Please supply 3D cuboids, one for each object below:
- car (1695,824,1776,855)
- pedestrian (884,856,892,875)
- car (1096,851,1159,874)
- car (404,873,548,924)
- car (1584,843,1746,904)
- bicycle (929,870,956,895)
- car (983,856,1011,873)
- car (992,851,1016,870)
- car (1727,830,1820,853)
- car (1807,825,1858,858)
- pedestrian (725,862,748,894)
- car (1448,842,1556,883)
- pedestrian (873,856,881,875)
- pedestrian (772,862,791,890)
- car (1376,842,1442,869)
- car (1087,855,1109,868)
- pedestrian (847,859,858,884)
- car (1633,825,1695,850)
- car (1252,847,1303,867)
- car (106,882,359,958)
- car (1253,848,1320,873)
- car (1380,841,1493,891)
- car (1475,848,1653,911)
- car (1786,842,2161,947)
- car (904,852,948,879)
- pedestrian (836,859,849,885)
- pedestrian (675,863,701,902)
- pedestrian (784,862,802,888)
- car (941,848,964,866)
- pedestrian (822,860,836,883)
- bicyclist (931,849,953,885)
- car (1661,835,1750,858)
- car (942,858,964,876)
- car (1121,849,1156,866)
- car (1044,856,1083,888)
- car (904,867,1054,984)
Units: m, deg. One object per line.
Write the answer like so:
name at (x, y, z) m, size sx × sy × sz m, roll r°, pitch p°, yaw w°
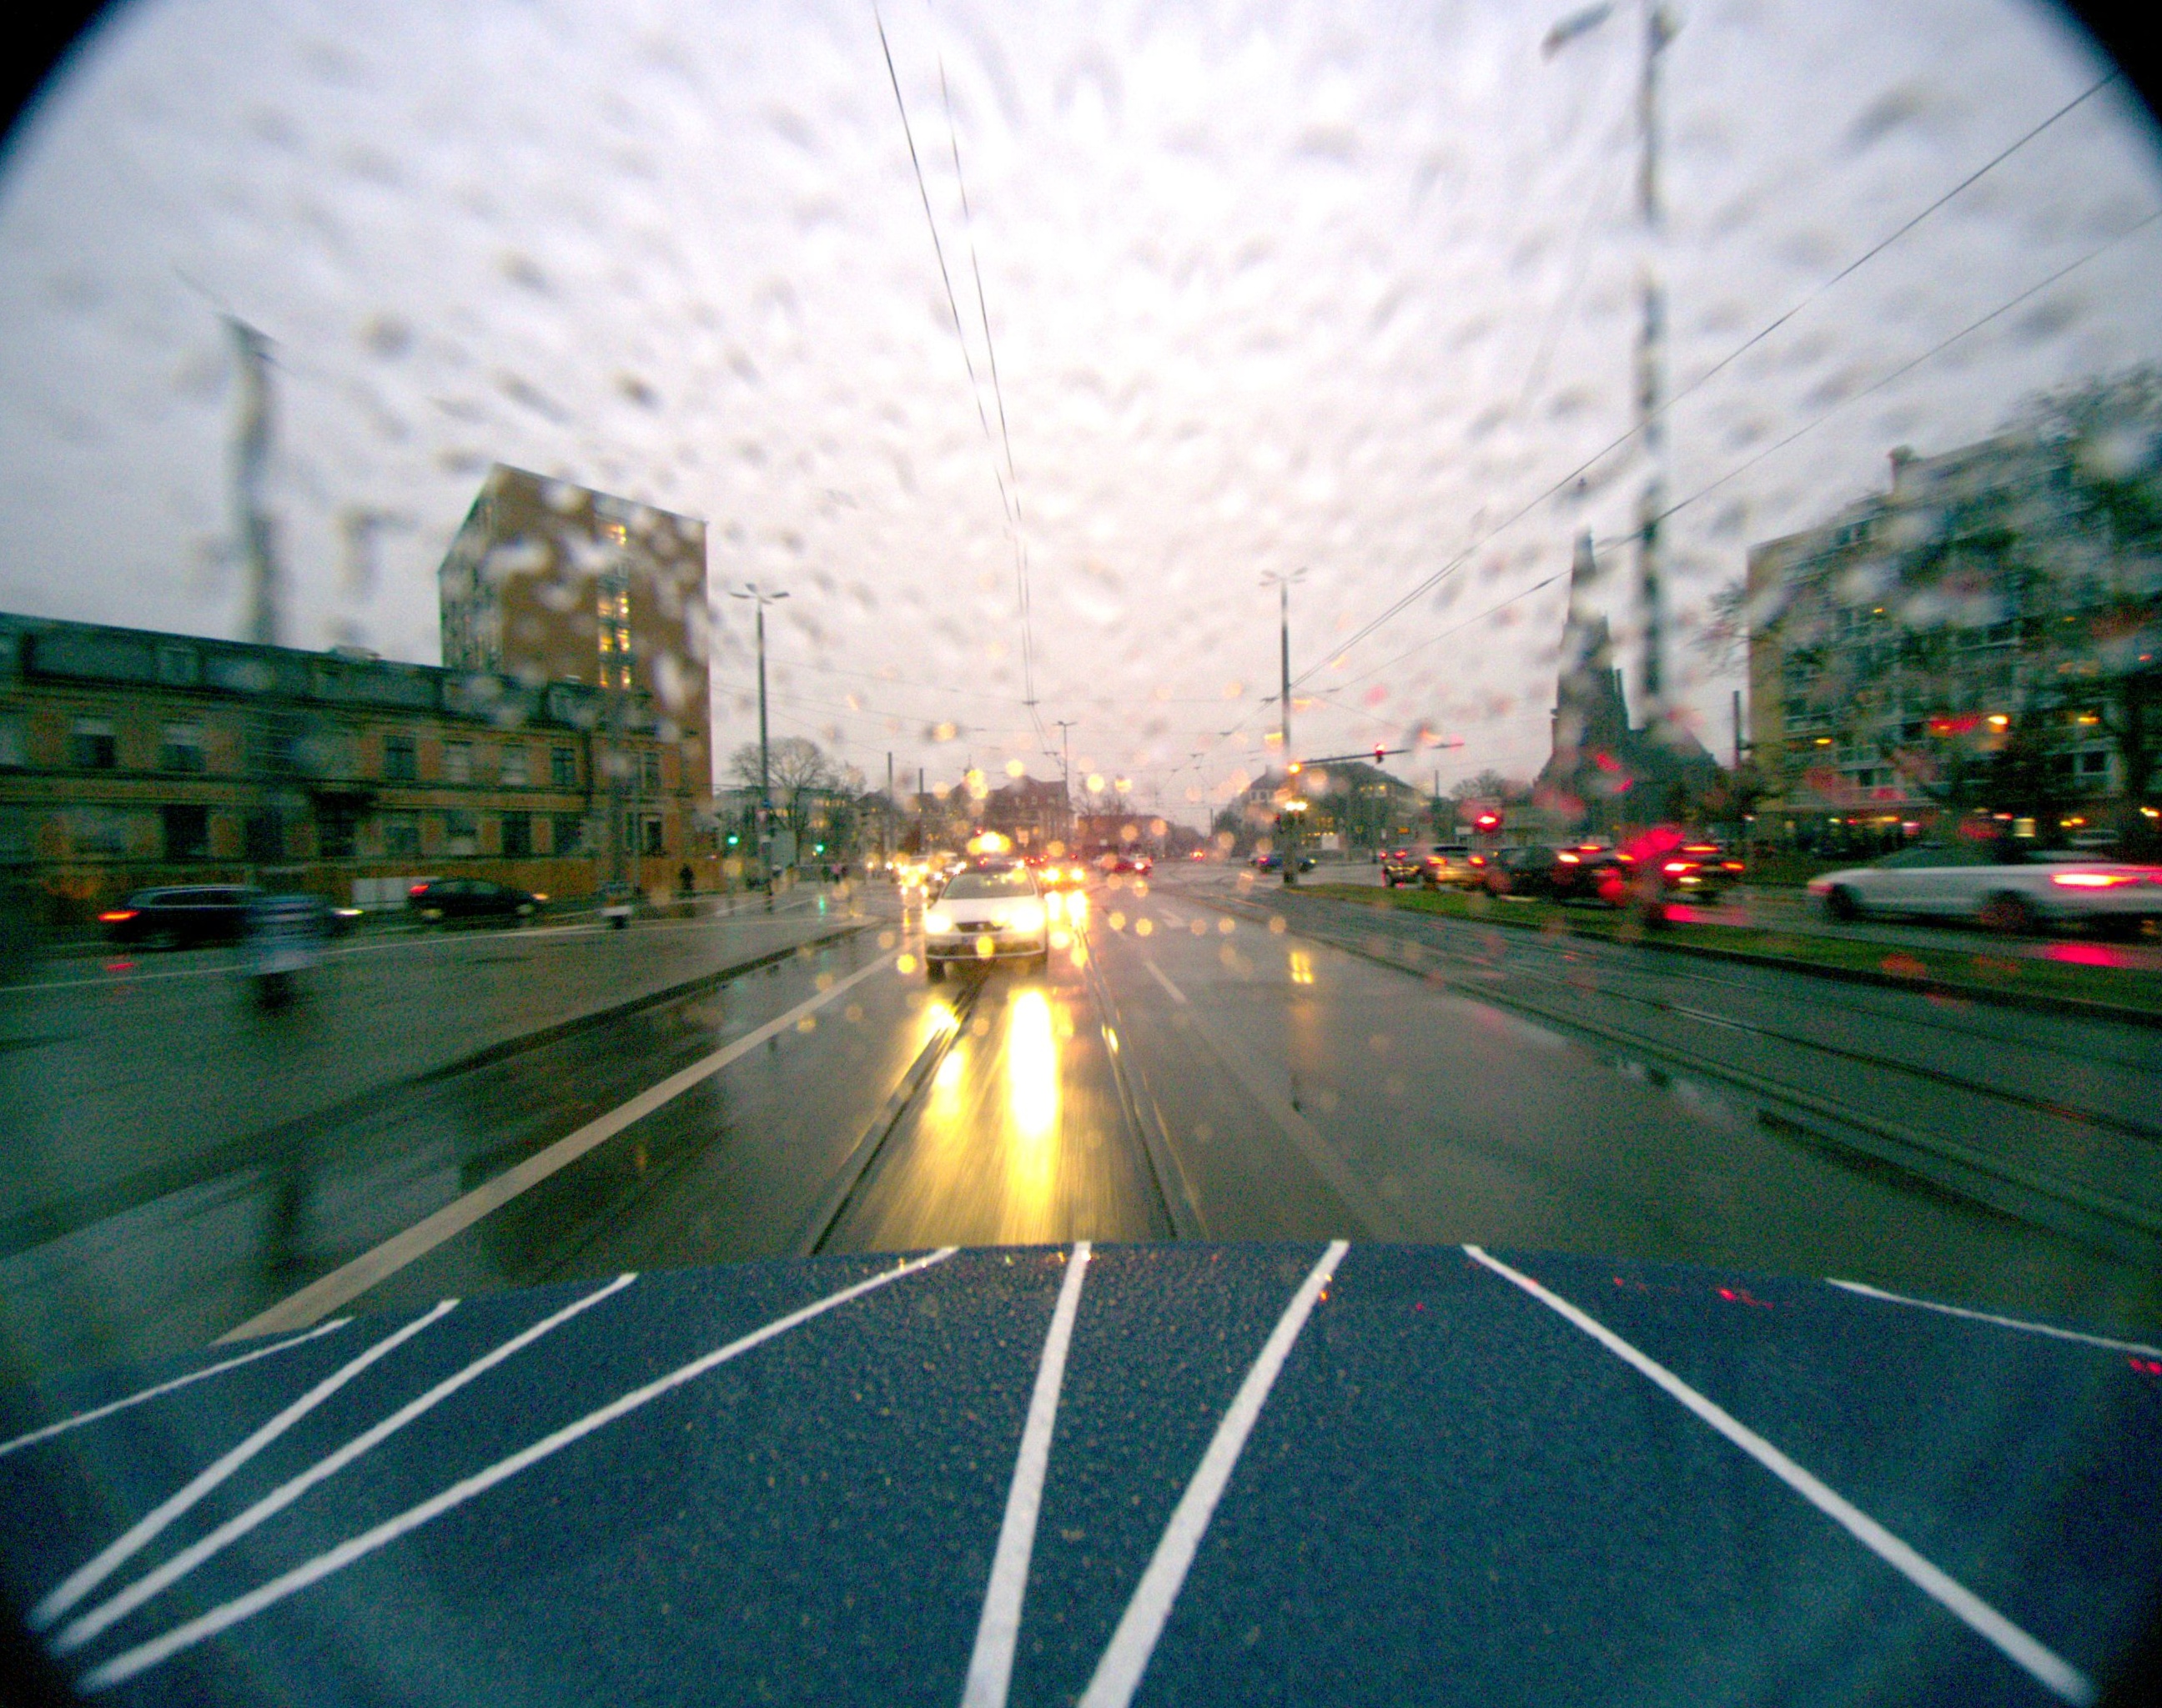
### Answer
car at (45.933, -1.018, 53.370) m, size 2.003 × 2.002 × 3.989 m, roll -3°, pitch 1°, yaw -38°
pedestrian at (-18.035, 1.063, 71.014) m, size 0.638 × 1.752 × 0.510 m, roll -2°, pitch 1°, yaw -14°
car at (3.394, 0.657, 55.860) m, size 4.085 × 1.521 × 2.003 m, roll -2°, pitch 1°, yaw 28°
car at (-20.994, 1.486, 26.448) m, size 3.755 × 1.394 × 1.614 m, roll -4°, pitch 2°, yaw -41°
car at (15.107, 0.459, 19.902) m, size 1.604 × 1.410 × 3.471 m, roll -2°, pitch 1°, yaw 1°
bicycle at (-6.084, 1.244, 33.463) m, size 0.725 × 0.985 × 2.212 m, roll -2°, pitch 1°, yaw 1°
car at (-8.042, 0.996, 72.515) m, size 1.826 × 1.565 × 3.994 m, roll -2°, pitch 1°, yaw -17°
car at (-8.532, 0.698, 84.222) m, size 1.826 × 1.922 × 3.994 m, roll -2°, pitch 1°, yaw -17°
car at (43.395, -0.790, 47.676) m, size 2.003 × 1.302 × 3.989 m, roll -3°, pitch 1°, yaw -38°
car at (48.235, -0.820, 48.861) m, size 1.994 × 2.002 × 4.007 m, roll -1°, pitch 1°, yaw 40°
pedestrian at (-18.592, 1.268, 41.024) m, size 0.818 × 1.667 × 0.749 m, roll -2°, pitch 1°, yaw 9°
car at (15.161, 0.275, 27.610) m, size 1.728 × 1.350 × 3.999 m, roll -2°, pitch 1°, yaw 0°
pedestrian at (-18.940, 1.102, 70.705) m, size 0.638 × 1.752 × 0.510 m, roll -2°, pitch 1°, yaw -14°
pedestrian at (-17.651, 1.278, 44.792) m, size 0.881 × 1.610 × 0.747 m, roll -2°, pitch 1°, yaw -35°
car at (23.897, 0.097, 55.338) m, size 4.573 × 1.783 × 1.821 m, roll -2°, pitch 1°, yaw -26°
car at (2.070, 0.892, 92.515) m, size 2.000 × 1.434 × 4.479 m, roll -2°, pitch 1°, yaw -8°
pedestrian at (-16.253, 1.253, 54.102) m, size 0.511 × 1.752 × 0.637 m, roll -3°, pitch 1°, yaw -35°
car at (51.471, -1.448, 67.160) m, size 3.990 × 2.002 × 2.003 m, roll -2°, pitch 1°, yaw 24°
car at (16.970, 0.281, 65.880) m, size 3.995 × 1.543 × 2.001 m, roll -2°, pitch 1°, yaw 7°
car at (-22.744, 1.693, 20.695) m, size 4.396 × 1.579 × 1.885 m, roll -2°, pitch 1°, yaw -44°
car at (14.289, 0.441, 53.085) m, size 4.258 × 1.559 × 1.826 m, roll -2°, pitch 1°, yaw 8°
car at (11.816, 0.349, 25.580) m, size 1.904 × 1.477 × 3.999 m, roll -2°, pitch 1°, yaw 0°
car at (11.669, 0.552, 18.731) m, size 1.876 × 1.382 × 4.000 m, roll 0°, pitch 1°, yaw 1°
car at (15.105, 0.544, 12.941) m, size 1.998 × 1.413 × 4.587 m, roll -2°, pitch 1°, yaw 1°
car at (-11.704, 0.834, 57.622) m, size 1.998 × 1.827 × 4.871 m, roll -2°, pitch 1°, yaw 4°
pedestrian at (-17.078, 1.262, 54.392) m, size 0.651 × 1.811 × 0.637 m, roll -3°, pitch 1°, yaw -35°
pedestrian at (-16.839, 1.206, 32.550) m, size 0.821 × 1.610 × 0.747 m, roll -2°, pitch 1°, yaw -34°
pedestrian at (-18.629, 1.340, 49.149) m, size 0.881 × 1.610 × 0.747 m, roll -2°, pitch 1°, yaw -35°
car at (-13.245, 0.295, 78.152) m, size 2.020 × 1.809 × 3.683 m, roll -3°, pitch 1°, yaw -14°
pedestrian at (-18.013, 1.234, 54.355) m, size 0.710 × 1.610 × 0.747 m, roll -3°, pitch 1°, yaw -35°
bicyclist at (-6.108, 0.561, 33.428) m, size 0.727 × 1.525 × 0.785 m, roll -2°, pitch 1°, yaw 1°
car at (39.727, -0.488, 48.398) m, size 2.003 × 1.302 × 3.989 m, roll -3°, pitch 1°, yaw -38°
car at (-11.481, 1.151, 68.039) m, size 1.829 × 1.499 × 3.800 m, roll -2°, pitch 1°, yaw -11°
car at (6.172, 0.404, 81.846) m, size 2.002 × 1.688 × 4.474 m, roll -2°, pitch 1°, yaw -20°
car at (-0.816, 0.882, 38.175) m, size 1.797 × 1.415 × 3.999 m, roll -2°, pitch 1°, yaw 0°
car at (-1.439, 0.989, 12.165) m, size 1.797 × 1.415 × 3.999 m, roll -2°, pitch 1°, yaw 0°
